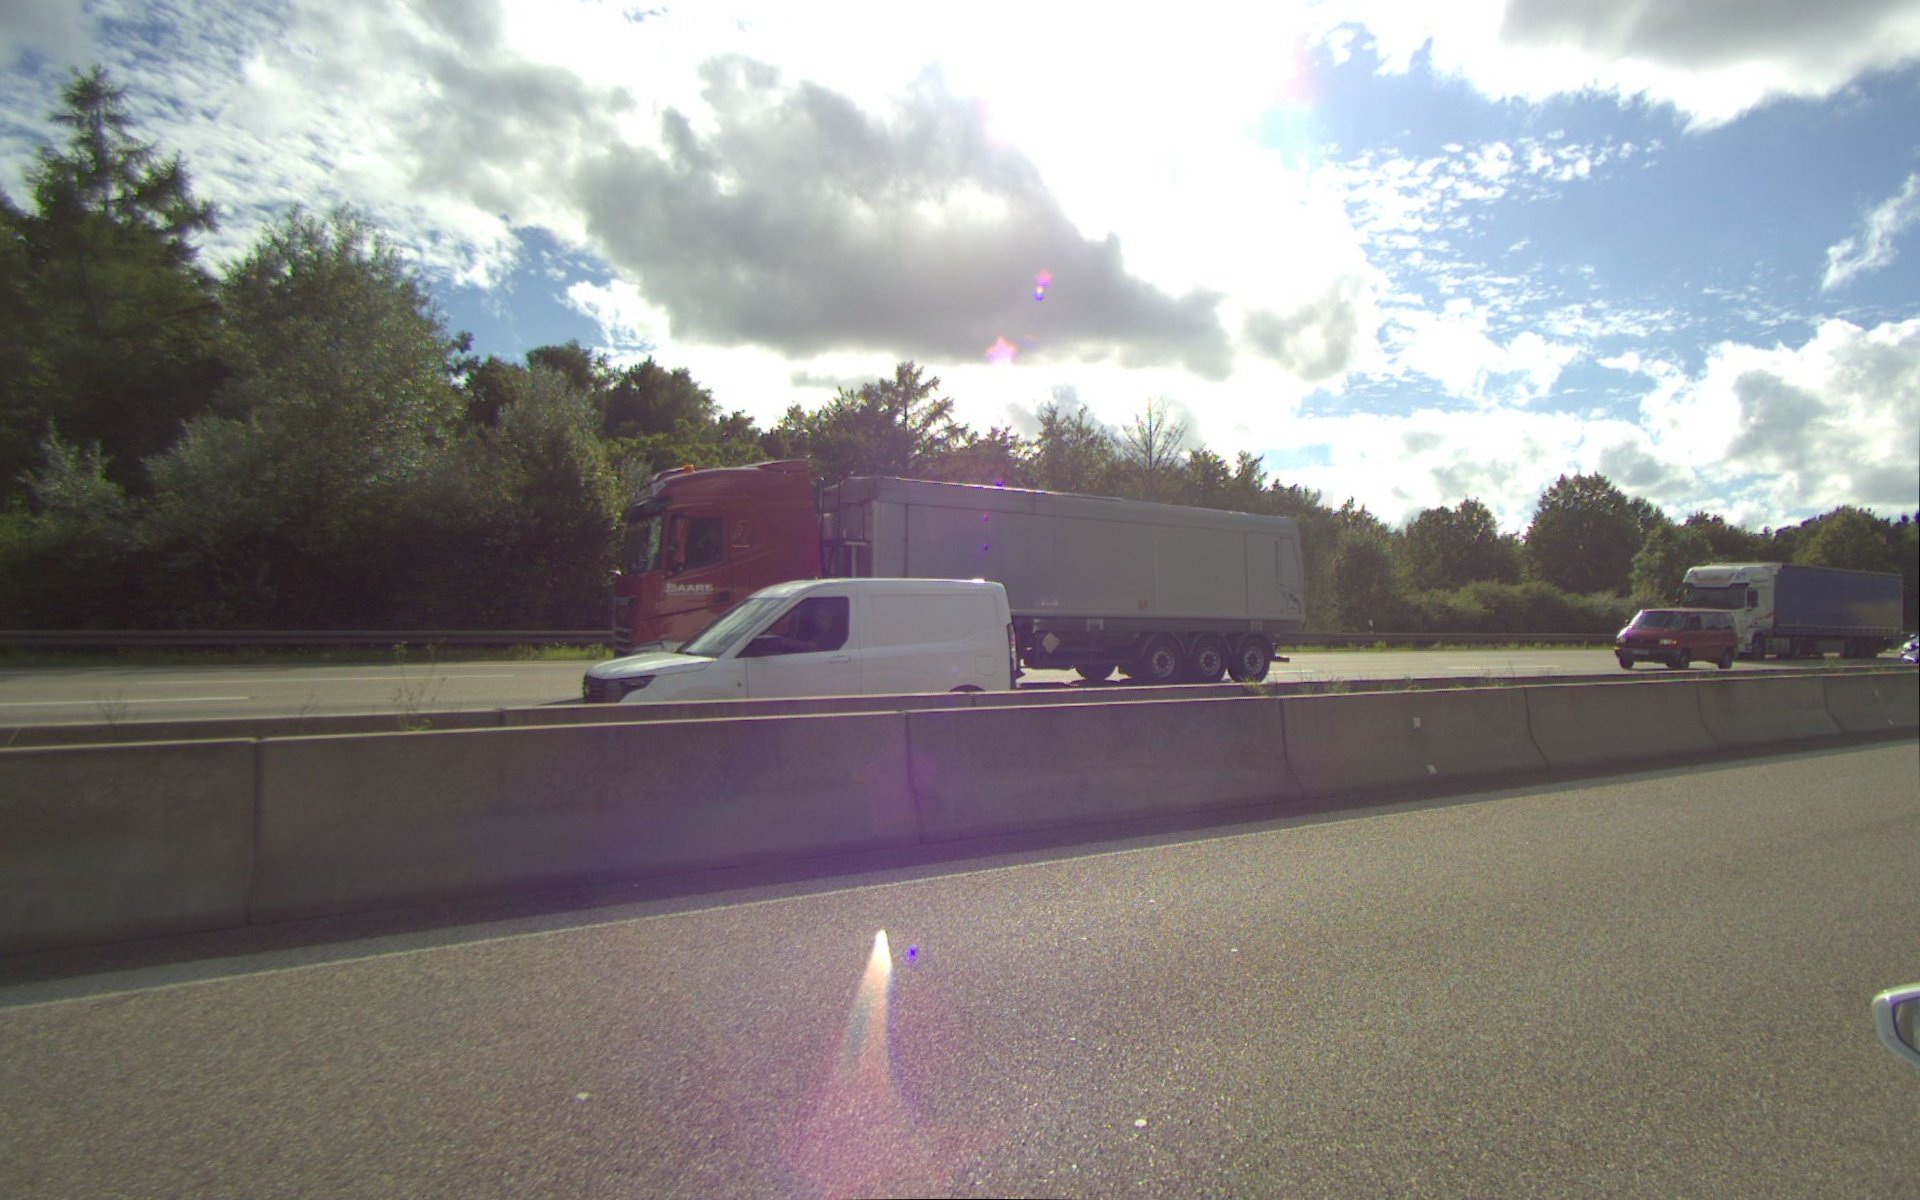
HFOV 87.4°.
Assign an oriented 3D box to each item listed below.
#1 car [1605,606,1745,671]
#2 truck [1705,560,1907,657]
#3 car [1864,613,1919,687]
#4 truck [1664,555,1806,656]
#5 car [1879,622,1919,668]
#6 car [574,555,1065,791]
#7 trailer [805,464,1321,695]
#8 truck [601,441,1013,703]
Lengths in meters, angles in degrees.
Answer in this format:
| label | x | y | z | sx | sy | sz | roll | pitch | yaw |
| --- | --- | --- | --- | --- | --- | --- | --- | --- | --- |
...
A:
| label | x | y | z | sx | sy | sz | roll | pitch | yaw |
| --- | --- | --- | --- | --- | --- | --- | --- | --- | --- |
| car | 23.202 | 1.214 | 32.554 | 4.975 | 1.966 | 1.838 | 1 | -1 | -31 |
| truck | 40.140 | 0.506 | 47.393 | 13.681 | 4.149 | 2.806 | 1 | -1 | -30 |
| car | 27.246 | 1.343 | 27.428 | 5.295 | 1.903 | 2.162 | 1 | -2 | -29 |
| truck | 33.699 | 0.287 | 43.633 | 5.989 | 4.149 | 2.806 | 1 | 0 | -30 |
| car | 35.311 | 1.608 | 36.233 | 4.856 | 1.617 | 1.835 | 1 | -2 | -30 |
| car | -1.300 | 0.649 | 10.091 | 4.564 | 1.903 | 1.839 | 1 | -2 | -32 |
| trailer | 2.550 | -0.229 | 21.042 | 11.147 | 3.909 | 2.953 | 1 | -1 | -30 |
| truck | -2.659 | -0.353 | 17.980 | 6.684 | 3.909 | 2.953 | 1 | -1 | -30 |
